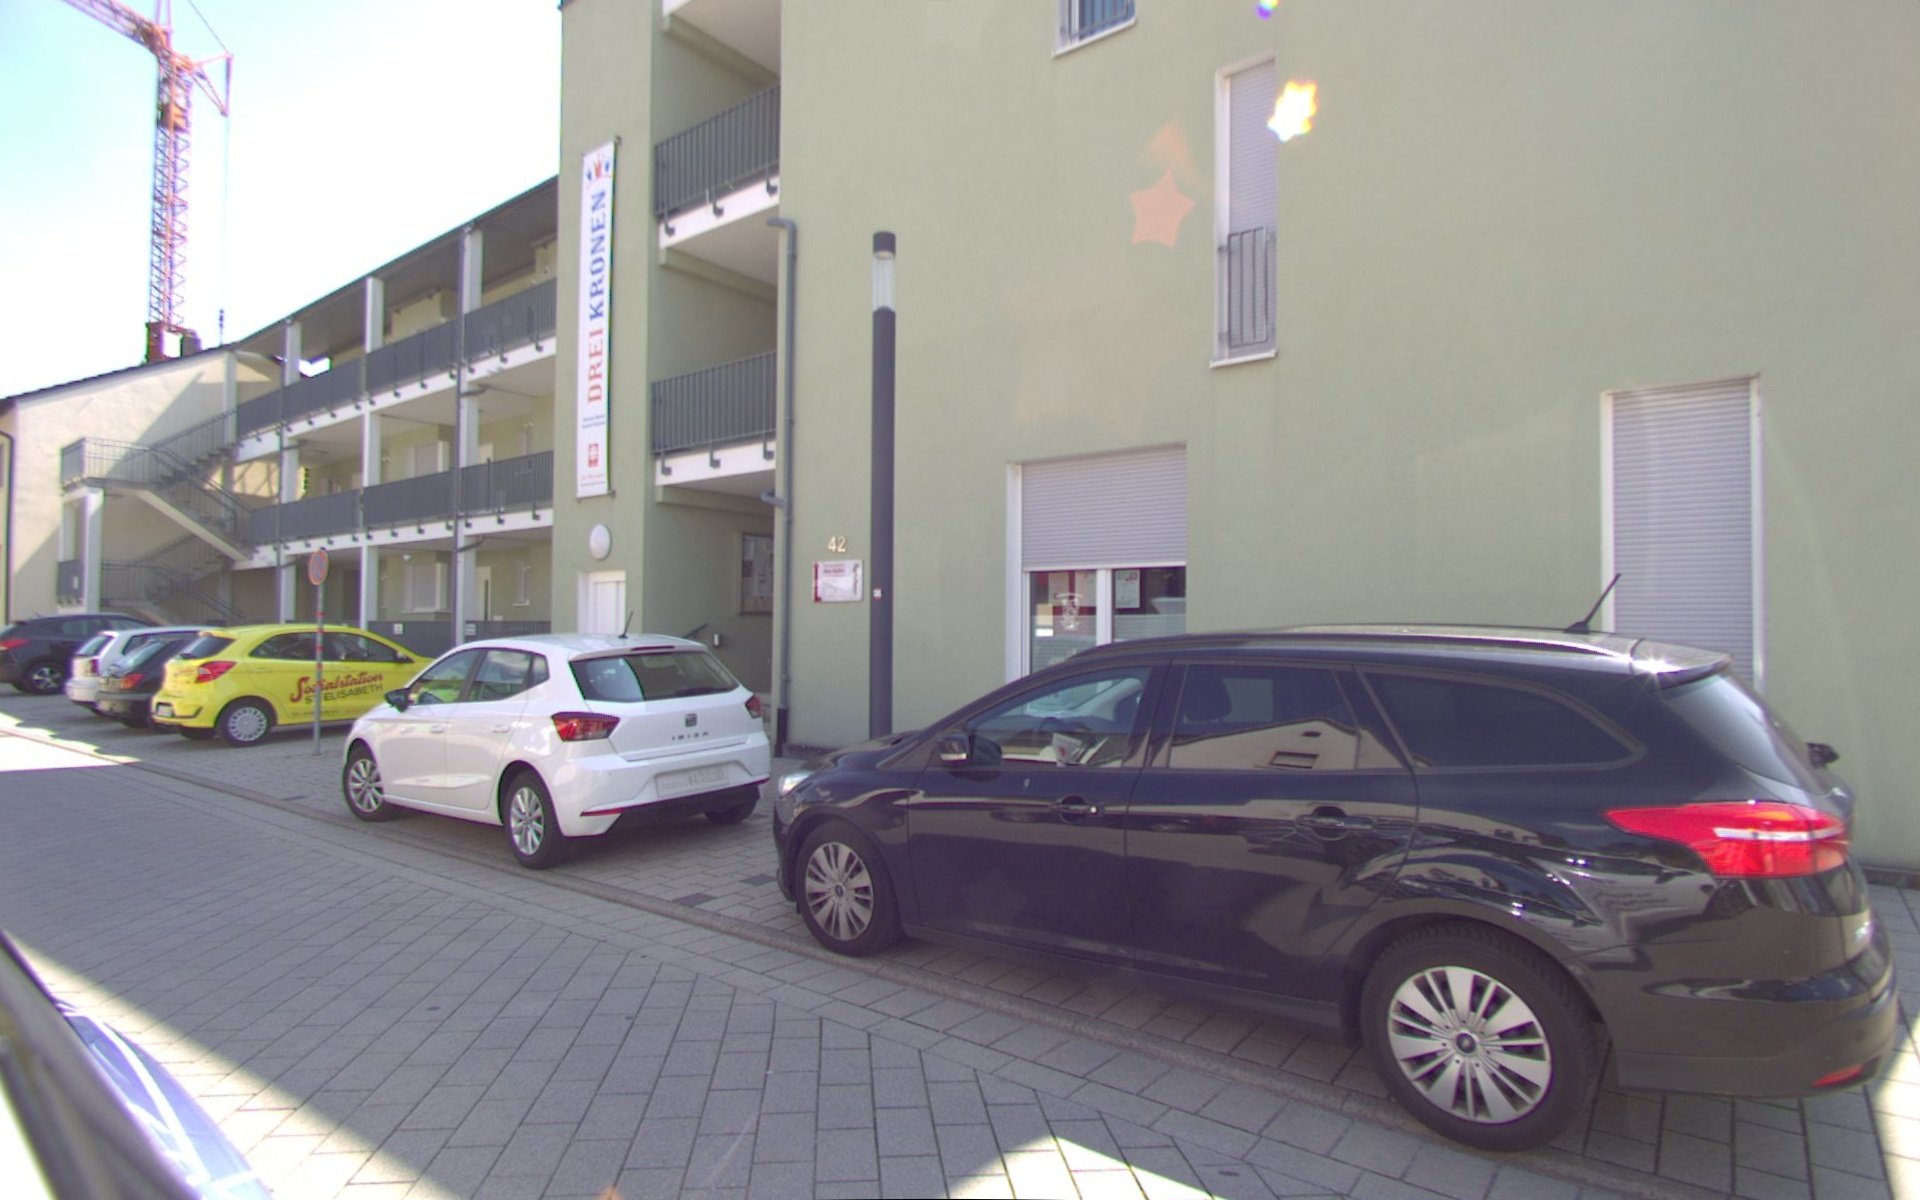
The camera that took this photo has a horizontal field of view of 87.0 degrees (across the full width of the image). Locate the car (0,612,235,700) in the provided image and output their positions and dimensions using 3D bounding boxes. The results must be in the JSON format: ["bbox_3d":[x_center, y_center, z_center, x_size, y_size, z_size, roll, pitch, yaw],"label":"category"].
[{"bbox_3d":[-18.676,1.156,22.222,1.782,1.671,4.178,-1,0,39],"label":"car"}]

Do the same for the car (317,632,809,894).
[{"bbox_3d":[-3.109,0.980,7.604,3.873,1.421,1.741,-2,-1,39],"label":"car"}]

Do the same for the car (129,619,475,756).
[{"bbox_3d":[-8.948,1.084,14.032,1.668,1.537,3.661,-2,0,34],"label":"car"}]

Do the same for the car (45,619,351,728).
[{"bbox_3d":[-12.879,1.150,17.288,1.749,1.514,3.862,-2,0,39],"label":"car"}]

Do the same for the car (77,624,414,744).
[{"bbox_3d":[-10.919,1.178,15.705,1.689,1.452,3.949,-1,0,38],"label":"car"}]

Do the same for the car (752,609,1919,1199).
[{"bbox_3d":[1.234,0.825,4.193,4.272,1.502,1.796,-2,-1,39],"label":"car"}]
